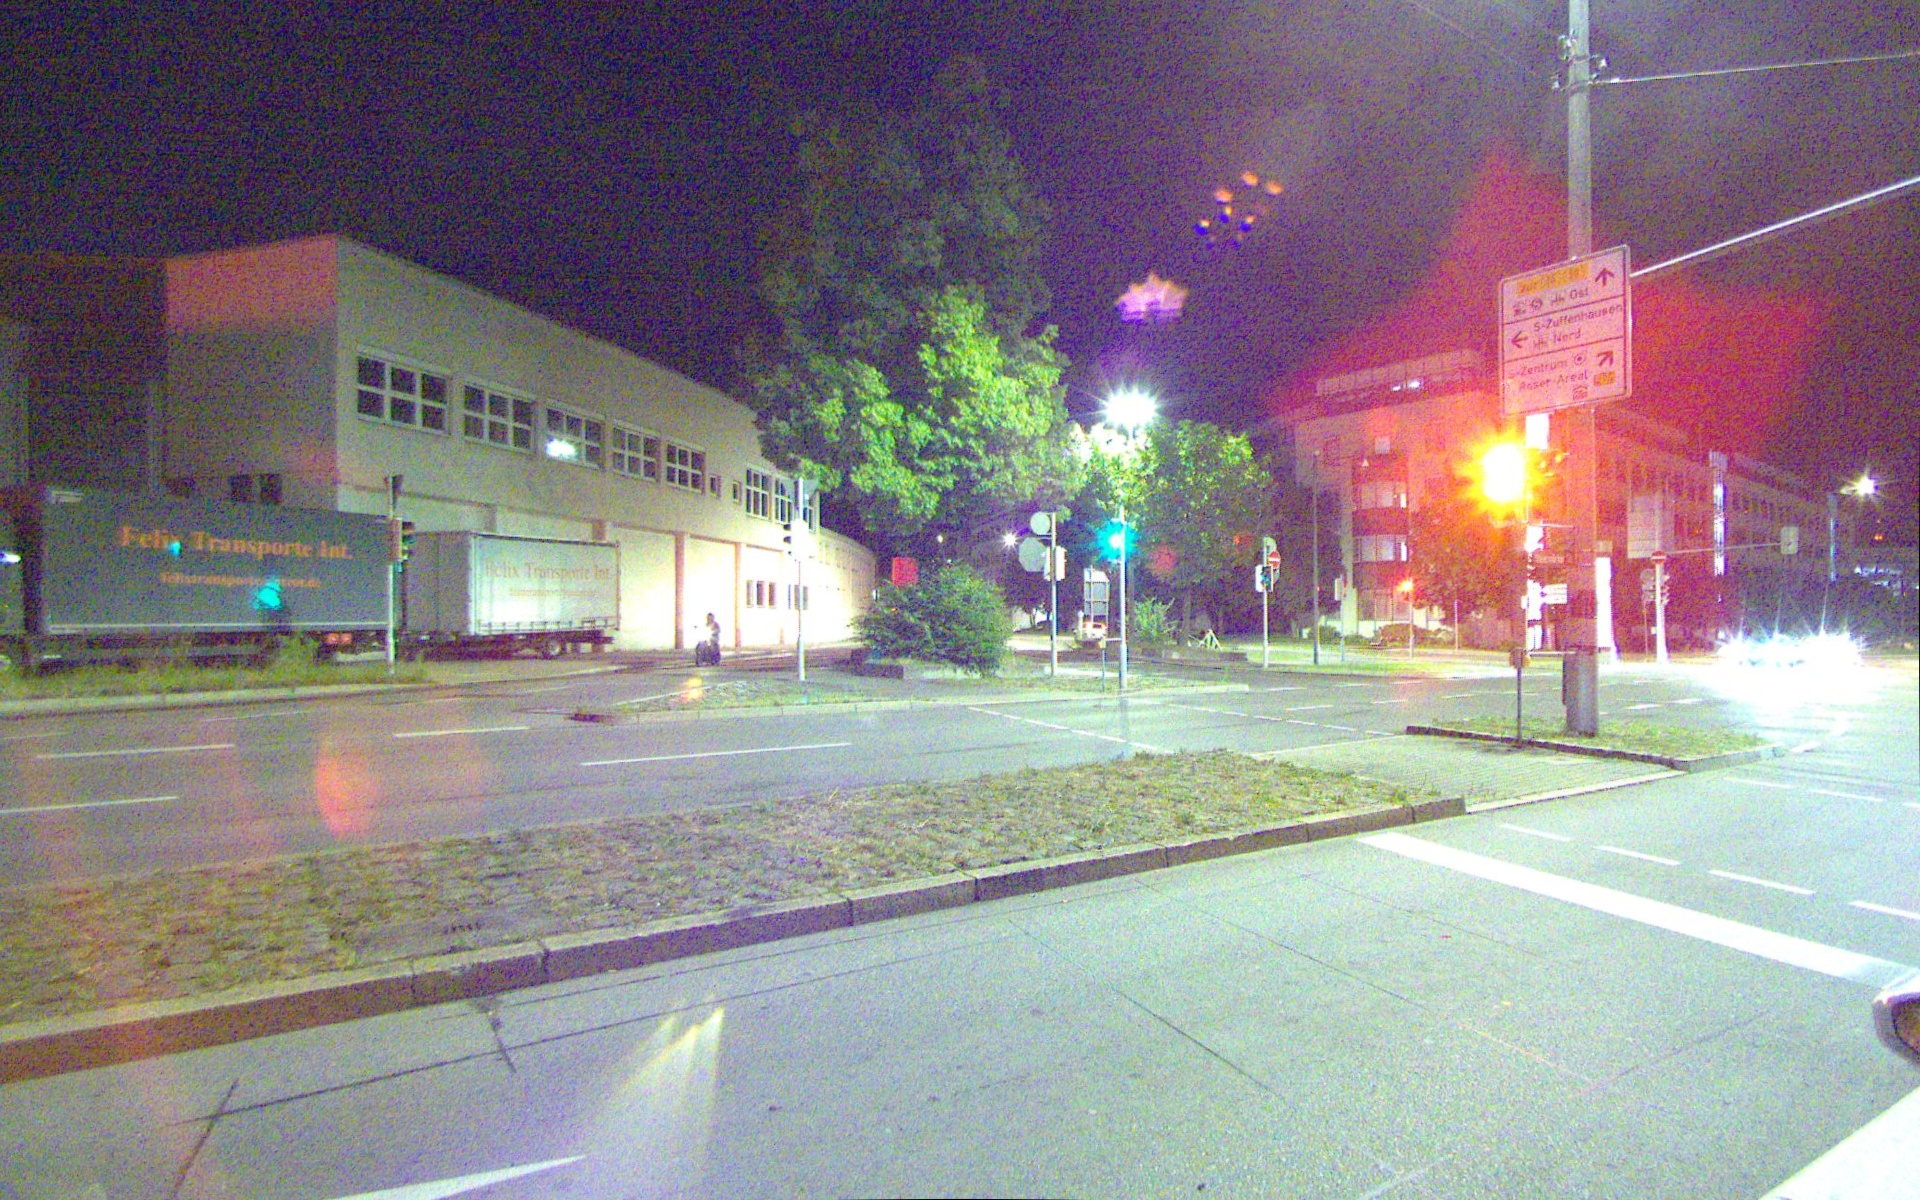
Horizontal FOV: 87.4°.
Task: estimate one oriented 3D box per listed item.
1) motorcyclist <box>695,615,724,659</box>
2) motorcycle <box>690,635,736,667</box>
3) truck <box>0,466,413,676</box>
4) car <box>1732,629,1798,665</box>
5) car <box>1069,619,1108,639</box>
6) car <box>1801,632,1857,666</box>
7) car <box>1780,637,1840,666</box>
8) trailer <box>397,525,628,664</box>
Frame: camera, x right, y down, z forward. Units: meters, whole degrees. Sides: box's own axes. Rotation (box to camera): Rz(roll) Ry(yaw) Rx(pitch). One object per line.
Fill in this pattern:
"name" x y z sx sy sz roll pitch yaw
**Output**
"motorcyclist" -7.527 1.110 30.229 0.635 1.278 0.579 1 -1 9
"motorcycle" -7.425 1.521 30.324 0.568 0.907 2.157 -1 -2 9
"truck" -17.467 -0.419 22.210 2.892 3.846 9.552 1 -2 25
"car" 37.303 2.175 46.517 3.966 1.535 1.603 3 -2 -39
"car" 10.218 2.312 79.998 1.680 1.511 3.988 2 -2 -15
"car" 47.104 2.638 54.430 3.518 1.750 1.743 3 -2 -39
"car" 43.021 2.598 50.817 3.518 1.339 1.743 3 -2 -39
"trailer" -13.678 -0.064 31.341 2.571 3.840 6.512 1 -2 23
